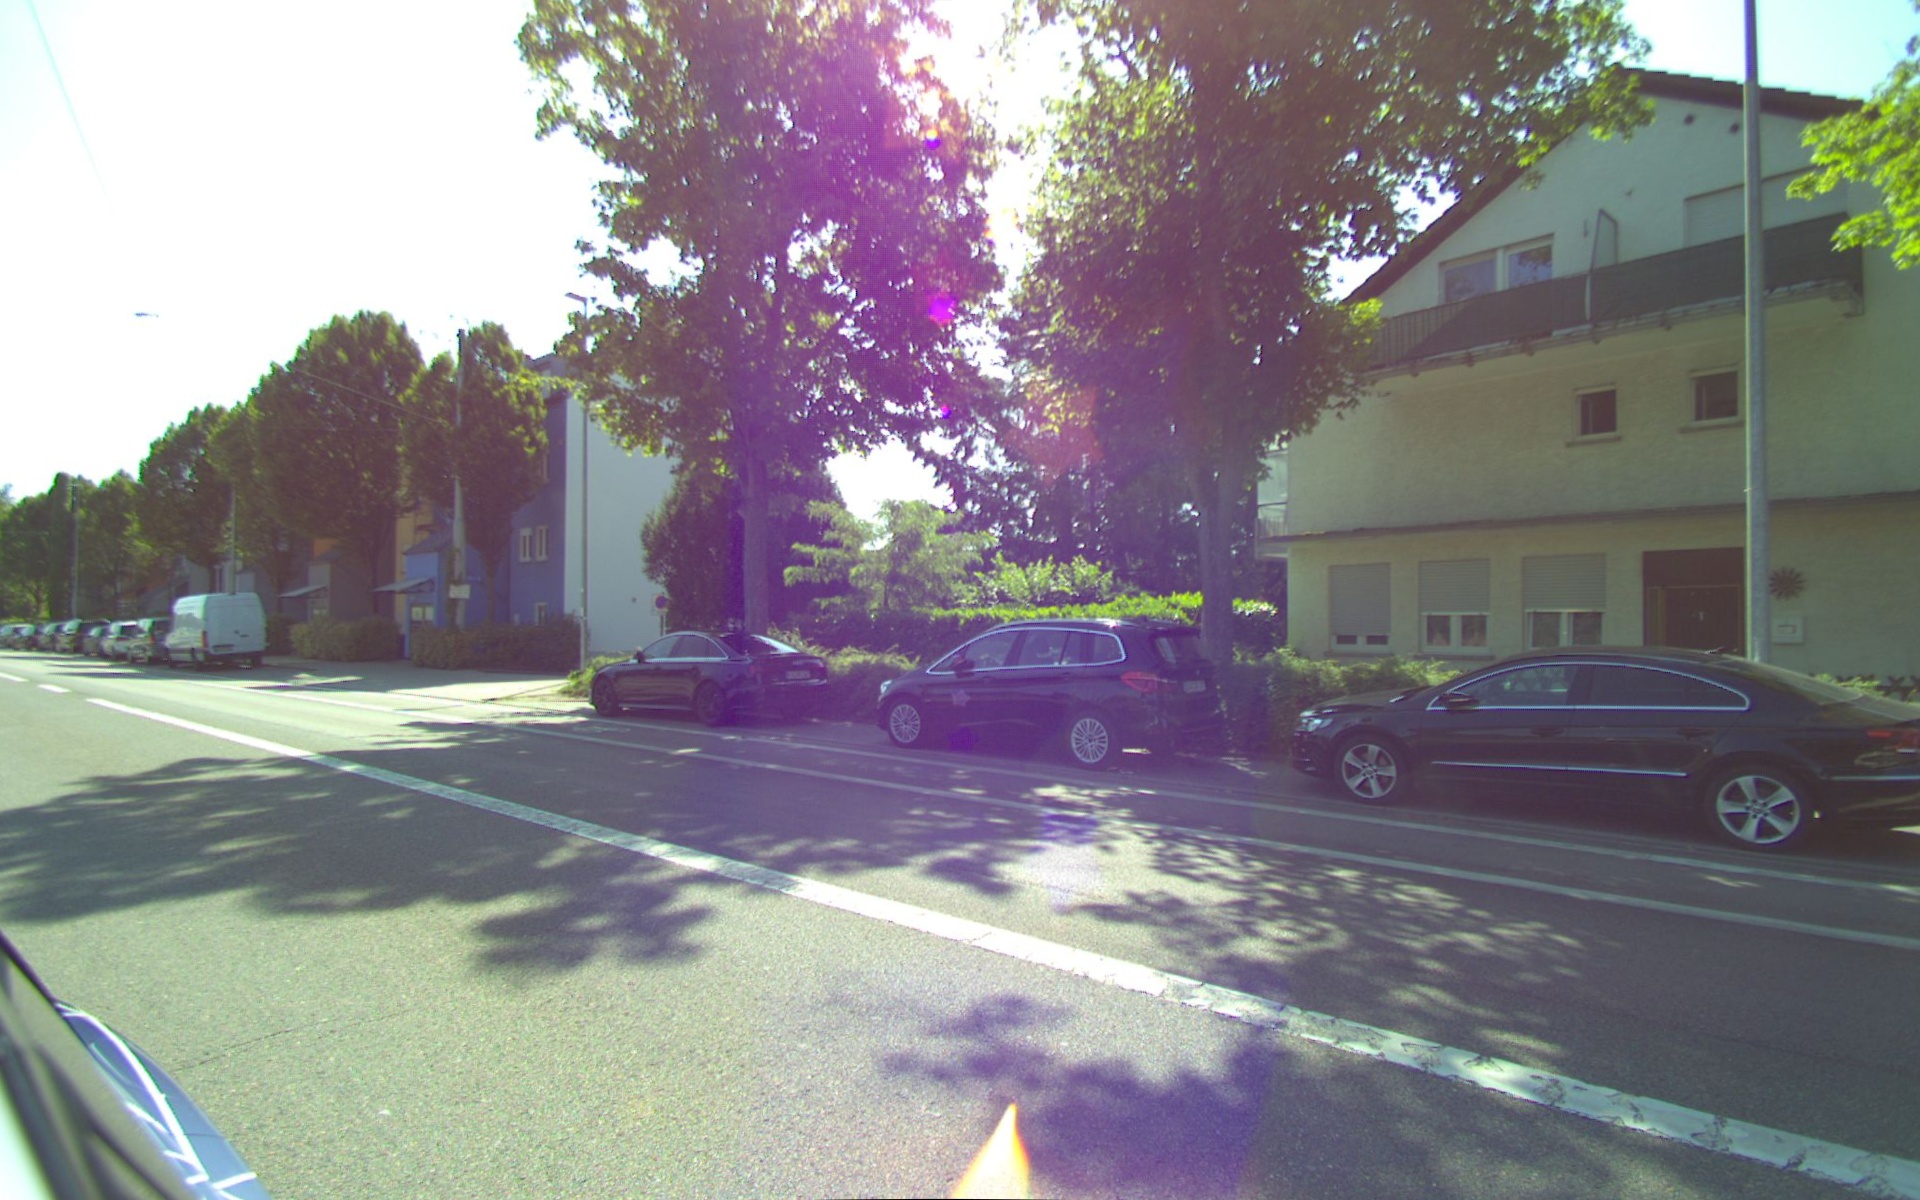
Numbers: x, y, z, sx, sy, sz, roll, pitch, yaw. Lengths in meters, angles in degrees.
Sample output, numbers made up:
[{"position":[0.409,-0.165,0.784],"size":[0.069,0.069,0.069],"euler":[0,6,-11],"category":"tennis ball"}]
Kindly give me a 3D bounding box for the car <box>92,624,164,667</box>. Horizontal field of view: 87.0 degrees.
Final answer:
[{"position":[-37.970,2.033,46.135],"size":[4.539,1.715,1.829],"euler":[-1,2,42],"category":"car"}]

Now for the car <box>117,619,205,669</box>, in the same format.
[{"position":[-33.725,1.821,42.659],"size":[4.964,1.879,1.973],"euler":[-1,2,41],"category":"car"}]

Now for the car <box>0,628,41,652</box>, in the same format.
[{"position":[-60.055,2.513,64.161],"size":[4.826,1.457,1.663],"euler":[-1,-1,35],"category":"car"}]

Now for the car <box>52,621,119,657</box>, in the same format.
[{"position":[-45.838,2.022,53.035],"size":[4.343,1.741,1.812],"euler":[-1,0,38],"category":"car"}]

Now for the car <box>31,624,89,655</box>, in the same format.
[{"position":[-49.883,2.143,56.069],"size":[4.159,1.619,1.661],"euler":[-1,-1,37],"category":"car"}]

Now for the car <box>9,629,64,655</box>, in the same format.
[{"position":[-54.806,2.470,60.041],"size":[4.206,1.481,1.662],"euler":[-1,-1,37],"category":"car"}]

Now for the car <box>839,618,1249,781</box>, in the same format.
[{"position":[0.824,1.043,12.293],"size":[4.891,1.618,1.743],"euler":[-1,-2,41],"category":"car"}]

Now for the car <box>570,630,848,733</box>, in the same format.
[{"position":[-4.252,1.234,16.717],"size":[4.903,1.477,1.822],"euler":[-1,-2,38],"category":"car"}]

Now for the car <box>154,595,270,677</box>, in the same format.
[{"position":[-27.666,1.280,37.308],"size":[7.084,2.697,1.973],"euler":[-2,1,42],"category":"car"}]

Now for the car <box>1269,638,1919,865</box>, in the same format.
[{"position":[5.199,1.040,8.394],"size":[4.779,1.390,1.673],"euler":[-2,-1,41],"category":"car"}]

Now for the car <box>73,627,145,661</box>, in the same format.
[{"position":[-41.776,2.125,49.660],"size":[4.069,1.466,1.849],"euler":[-1,1,37],"category":"car"}]
